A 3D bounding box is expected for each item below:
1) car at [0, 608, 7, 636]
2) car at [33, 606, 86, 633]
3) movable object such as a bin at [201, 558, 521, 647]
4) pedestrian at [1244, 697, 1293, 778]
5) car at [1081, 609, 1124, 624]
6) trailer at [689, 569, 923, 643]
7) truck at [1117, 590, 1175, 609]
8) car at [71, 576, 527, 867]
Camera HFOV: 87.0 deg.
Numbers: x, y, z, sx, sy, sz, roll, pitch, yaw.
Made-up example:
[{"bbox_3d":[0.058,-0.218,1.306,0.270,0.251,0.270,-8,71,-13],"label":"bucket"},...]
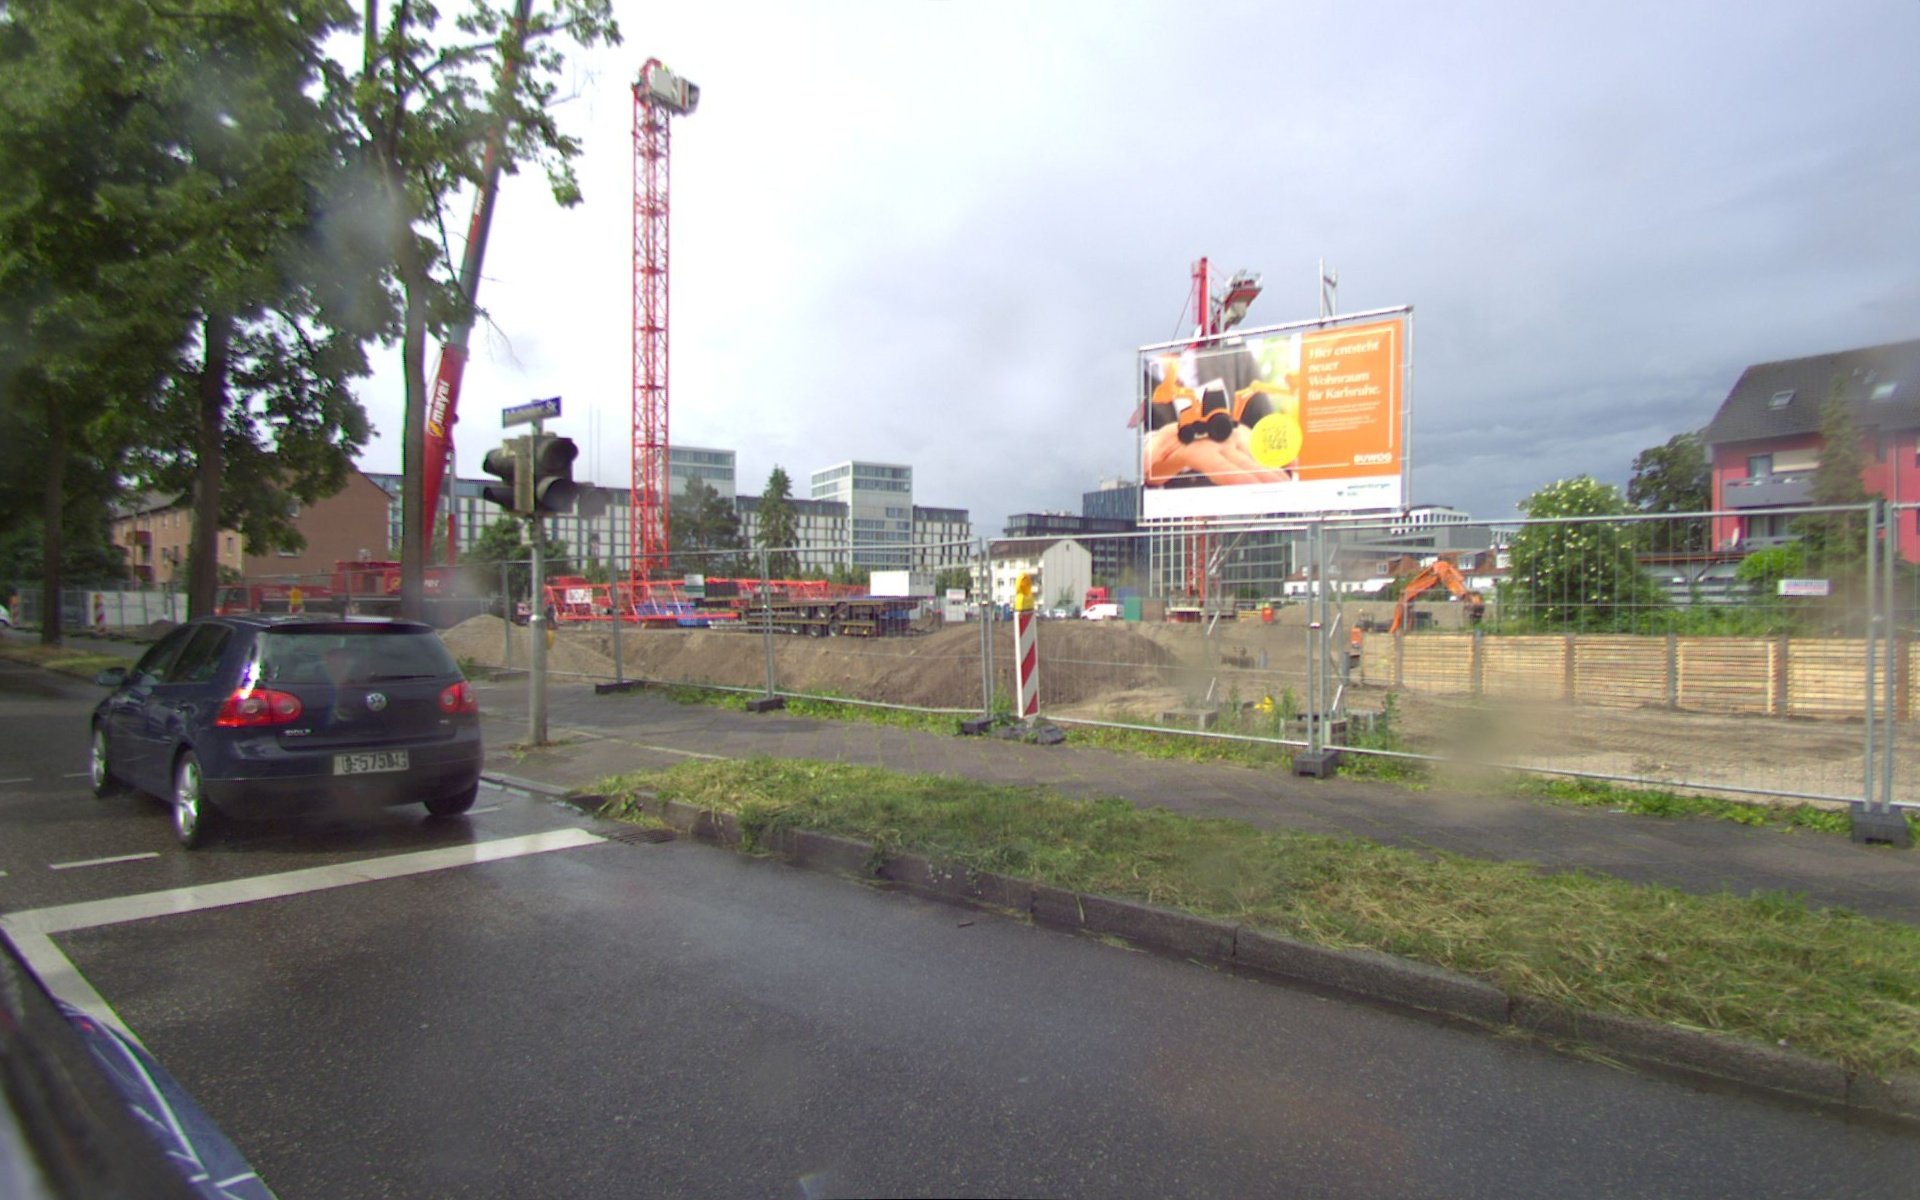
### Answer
[{"bbox_3d":[-54.876,1.266,55.426,3.813,1.563,1.700,-2,2,-42],"label":"car"},{"bbox_3d":[-55.429,1.178,62.283,3.994,1.541,1.673,0,1,37],"label":"car"},{"bbox_3d":[-33.964,-0.064,58.703,3.101,4.592,15.736,0,2,42],"label":"movable object such as a bin"},{"bbox_3d":[6.890,3.050,22.630,0.849,1.698,0.580,-1,-4,45],"label":"pedestrian"},{"bbox_3d":[15.991,1.803,113.633,4.580,1.529,1.798,1,2,42],"label":"car"},{"bbox_3d":[-8.256,0.219,51.779,14.295,3.256,2.932,0,3,39],"label":"trailer"},{"bbox_3d":[21.553,-0.025,117.301,6.288,2.095,1.885,0,1,23],"label":"truck"},{"bbox_3d":[-5.139,0.730,7.663,3.998,1.620,1.822,-1,-3,41],"label":"car"}]
